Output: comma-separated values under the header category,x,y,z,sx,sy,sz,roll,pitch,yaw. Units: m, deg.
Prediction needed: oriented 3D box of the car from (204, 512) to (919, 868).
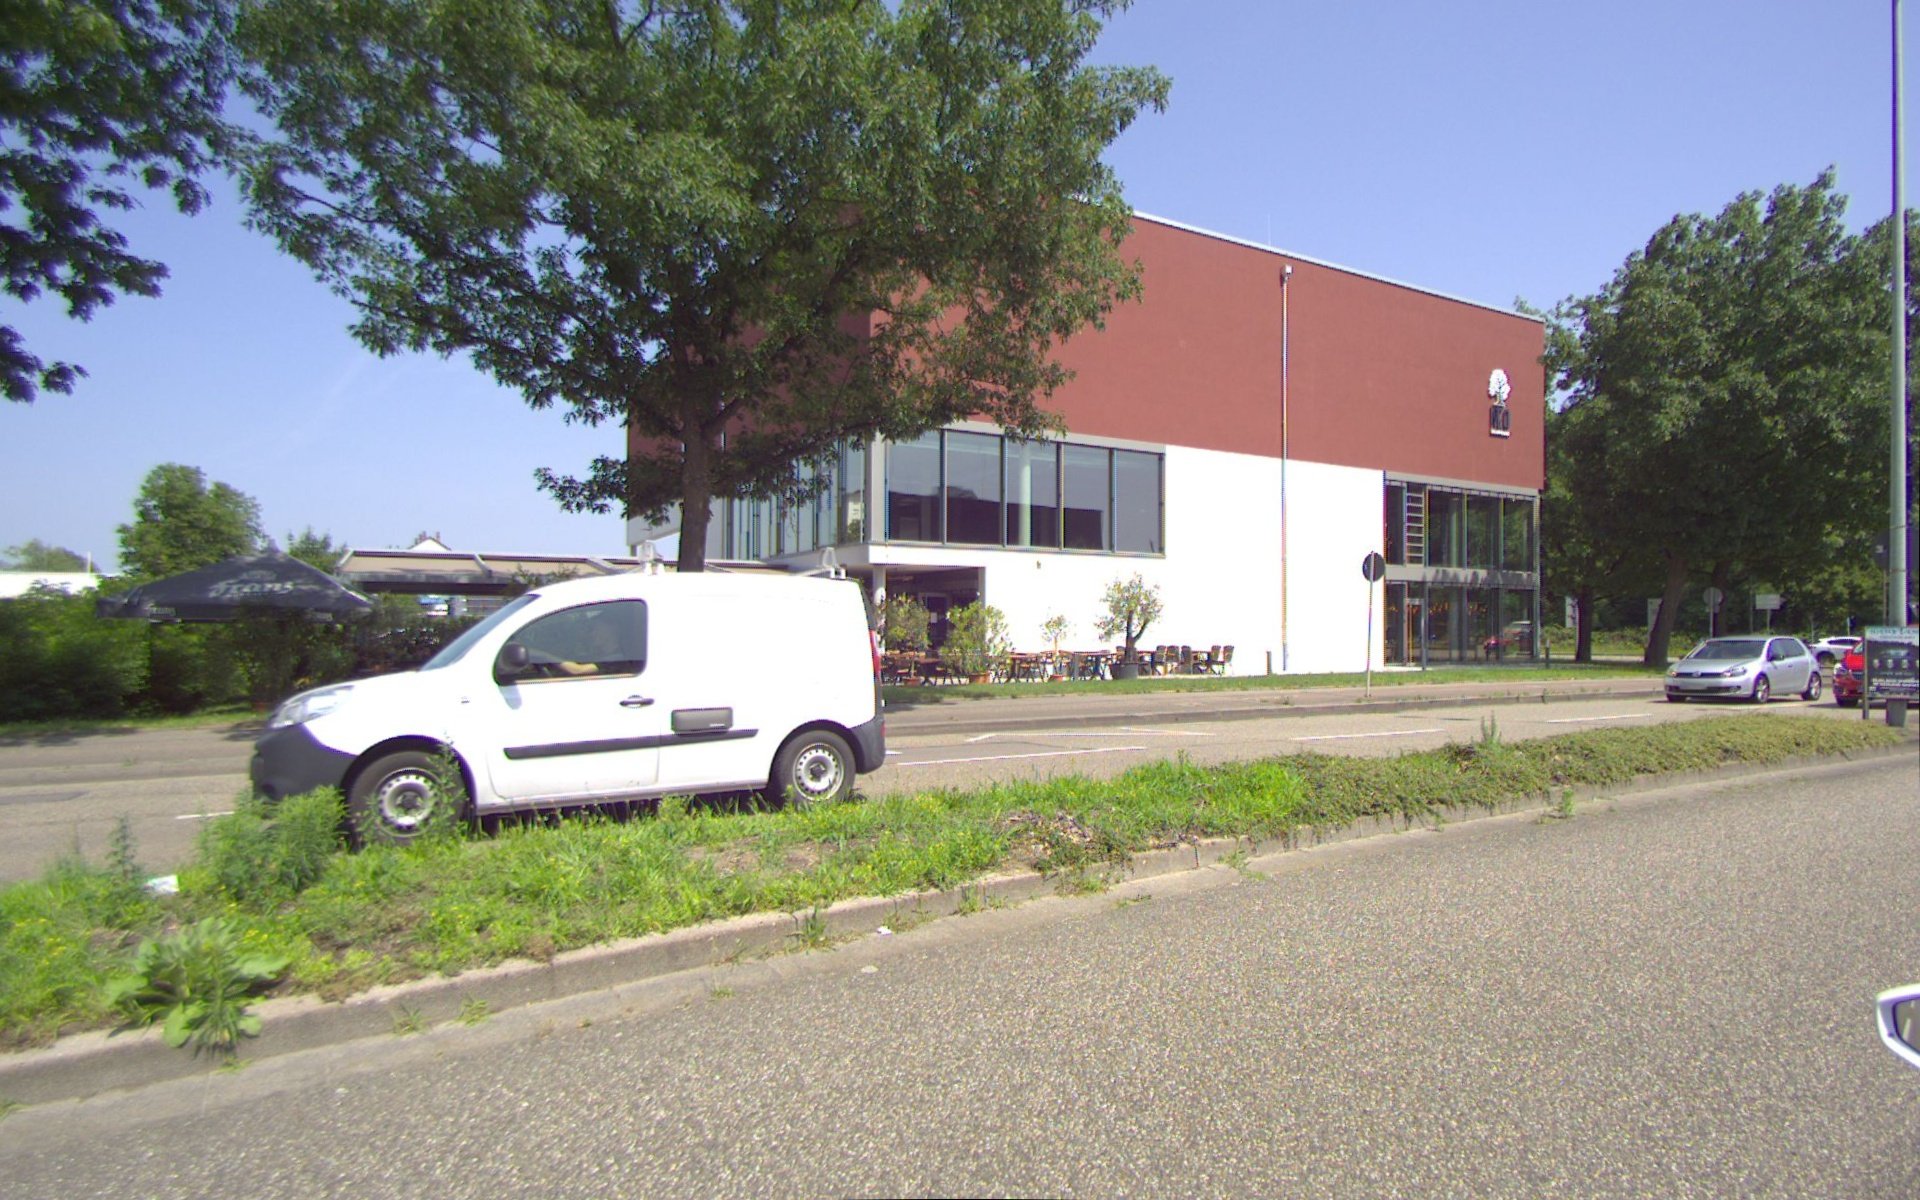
category,x,y,z,sx,sy,sz,roll,pitch,yaw
car,-2.666,0.571,7.380,4.374,1.930,1.844,1,-4,-30

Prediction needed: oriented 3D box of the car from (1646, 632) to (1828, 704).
category,x,y,z,sx,sy,sz,roll,pitch,yaw
car,17.363,1.475,22.428,4.083,1.470,1.742,1,-4,-30

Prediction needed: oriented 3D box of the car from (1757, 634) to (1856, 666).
category,x,y,z,sx,sy,sz,roll,pitch,yaw
car,51.917,3.056,61.685,1.793,1.704,4.340,2,0,-36

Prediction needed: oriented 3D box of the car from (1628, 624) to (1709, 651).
category,x,y,z,sx,sy,sz,roll,pitch,yaw
car,50.144,2.644,71.154,1.795,1.704,4.335,2,0,-39

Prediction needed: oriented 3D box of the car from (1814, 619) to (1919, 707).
category,x,y,z,sx,sy,sz,roll,pitch,yaw
car,18.832,1.199,19.773,4.103,1.590,1.742,1,-4,-30
